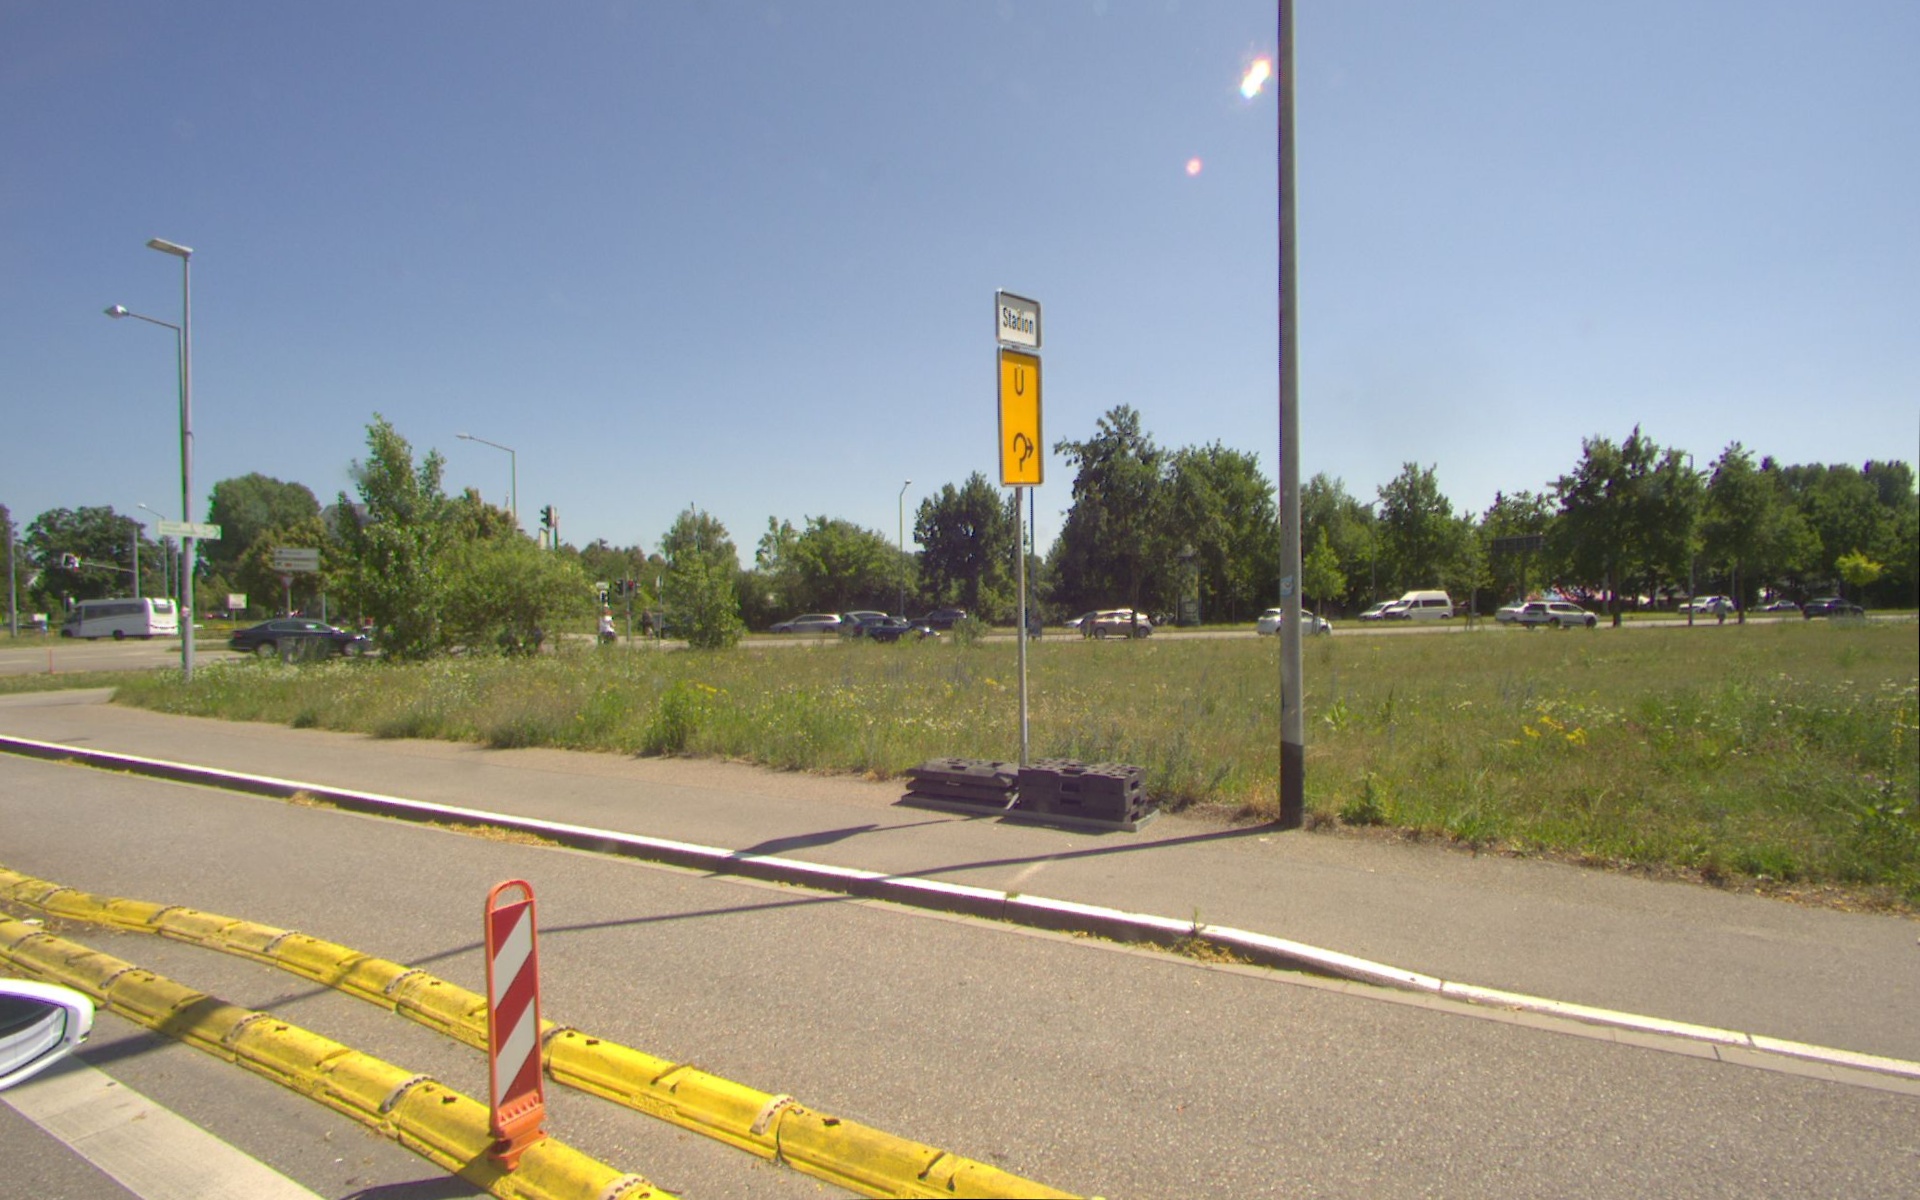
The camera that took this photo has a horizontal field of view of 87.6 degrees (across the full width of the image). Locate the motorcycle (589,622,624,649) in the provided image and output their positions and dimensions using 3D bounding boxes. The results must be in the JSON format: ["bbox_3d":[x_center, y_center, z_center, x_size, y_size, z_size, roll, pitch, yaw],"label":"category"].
[{"bbox_3d":[-13.122,1.314,37.187,0.619,0.982,1.709,0,-1,3],"label":"motorcycle"}]

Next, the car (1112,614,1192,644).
[{"bbox_3d":[12.989,1.956,67.914,4.993,2.040,1.997,0,-1,-15],"label":"car"}]

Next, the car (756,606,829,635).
[{"bbox_3d":[-10.298,1.277,61.572,4.298,1.739,1.998,0,-1,-13],"label":"car"}]

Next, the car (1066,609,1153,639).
[{"bbox_3d":[7.894,1.268,52.887,4.187,1.543,1.819,0,-1,-17],"label":"car"}]

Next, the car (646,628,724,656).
[{"bbox_3d":[-17.250,2.597,62.961,4.607,1.710,1.735,0,-1,-13],"label":"car"}]

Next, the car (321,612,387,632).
[{"bbox_3d":[-39.425,1.440,65.157,3.727,1.317,1.653,-1,-1,18],"label":"car"}]

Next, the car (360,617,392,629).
[{"bbox_3d":[-87.455,3.497,149.965,1.963,1.736,3.997,0,-1,14],"label":"car"}]

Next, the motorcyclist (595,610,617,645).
[{"bbox_3d":[-13.148,1.023,37.232,0.570,1.306,0.615,0,-1,3],"label":"motorcyclist"}]

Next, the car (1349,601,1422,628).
[{"bbox_3d":[32.887,1.131,77.440,4.993,2.040,1.997,0,-1,-15],"label":"car"}]

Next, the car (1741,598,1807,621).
[{"bbox_3d":[72.478,0.874,89.190,4.993,2.040,1.997,0,-1,-15],"label":"car"}]

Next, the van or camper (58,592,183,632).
[{"bbox_3d":[-59.647,0.896,71.230,7.367,2.728,2.513,0,-1,8],"label":"van or camper"}]

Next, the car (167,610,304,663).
[{"bbox_3d":[-26.709,1.326,36.967,3.957,1.839,1.983,1,-1,-41],"label":"car"}]

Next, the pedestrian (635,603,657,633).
[{"bbox_3d":[-16.753,0.953,53.405,0.813,1.583,0.789,-1,-1,40],"label":"pedestrian"}]

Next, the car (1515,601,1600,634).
[{"bbox_3d":[34.828,1.022,58.365,4.189,1.839,1.996,0,-1,-18],"label":"car"}]

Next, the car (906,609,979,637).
[{"bbox_3d":[-1.168,1.550,66.557,4.521,1.829,1.998,0,-1,-12],"label":"car"}]

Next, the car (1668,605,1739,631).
[{"bbox_3d":[61.152,1.488,82.355,4.993,2.040,1.997,0,-1,-15],"label":"car"}]

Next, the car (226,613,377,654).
[{"bbox_3d":[-24.652,1.226,37.599,4.489,1.466,1.805,1,-2,-44],"label":"car"}]

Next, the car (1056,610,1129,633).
[{"bbox_3d":[9.309,1.494,70.375,4.695,1.590,1.997,0,-1,-15],"label":"car"}]

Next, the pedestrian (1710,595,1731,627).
[{"bbox_3d":[37.021,0.538,48.748,0.724,1.583,0.497,0,0,-18],"label":"pedestrian"}]

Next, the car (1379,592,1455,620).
[{"bbox_3d":[33.985,0.479,74.514,4.993,2.040,1.997,0,-1,-15],"label":"car"}]

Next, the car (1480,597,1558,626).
[{"bbox_3d":[35.549,0.753,63.725,4.189,1.839,1.996,0,-1,-18],"label":"car"}]

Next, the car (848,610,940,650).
[{"bbox_3d":[-3.030,1.355,45.635,3.929,1.750,1.787,0,-1,-16],"label":"car"}]

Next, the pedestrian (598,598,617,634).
[{"bbox_3d":[-18.547,0.831,52.716,0.726,1.894,0.648,-1,-1,34],"label":"pedestrian"}]

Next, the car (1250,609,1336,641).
[{"bbox_3d":[17.288,1.279,52.031,3.937,1.641,1.679,0,-1,-12],"label":"car"}]

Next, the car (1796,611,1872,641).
[{"bbox_3d":[59.197,1.756,67.824,3.927,2.040,1.998,0,-1,-14],"label":"car"}]
